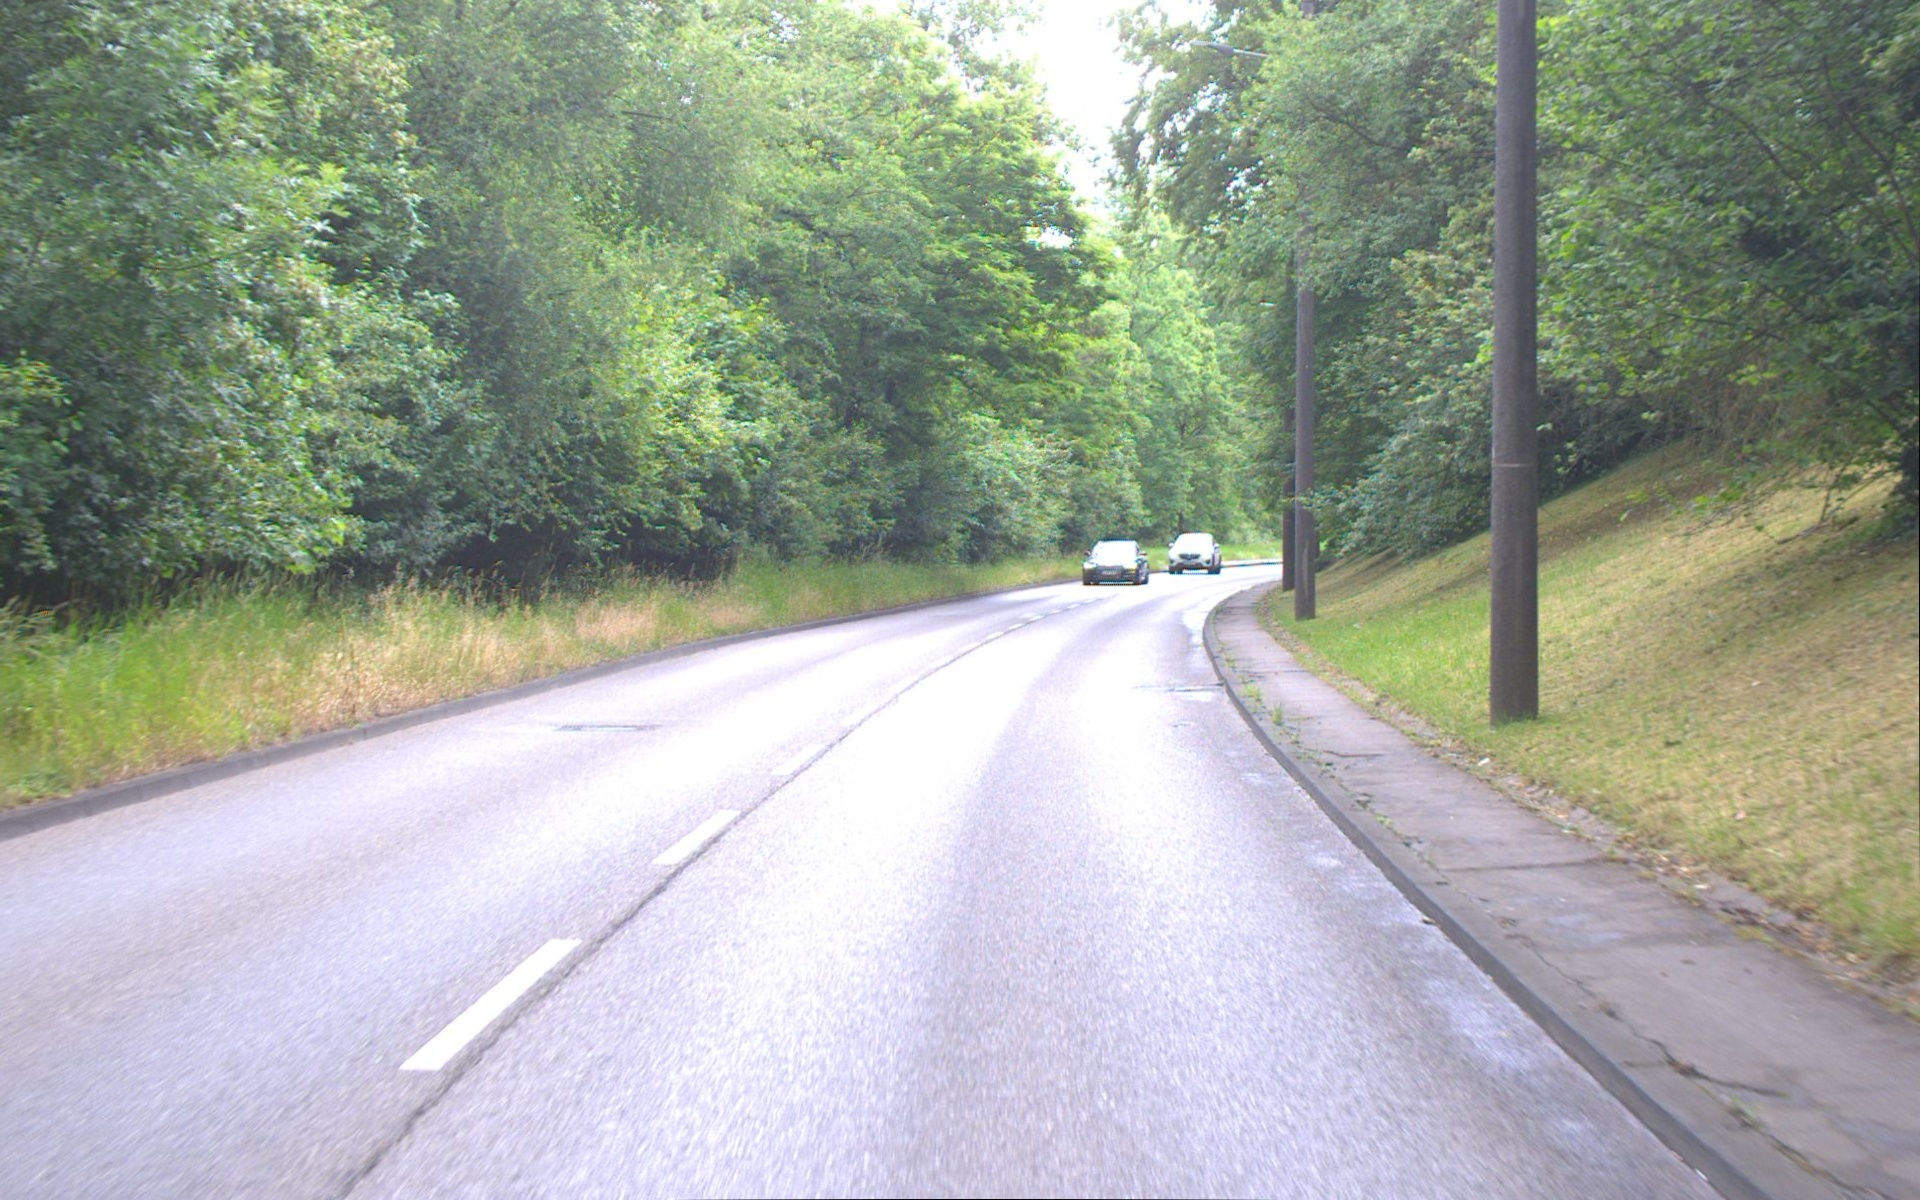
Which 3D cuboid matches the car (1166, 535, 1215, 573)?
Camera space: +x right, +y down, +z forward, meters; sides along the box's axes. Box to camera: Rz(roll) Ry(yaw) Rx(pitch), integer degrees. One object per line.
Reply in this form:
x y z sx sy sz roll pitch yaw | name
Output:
9.551 -1.926 142.831 1.942 1.576 4.440 0 1 3 | car

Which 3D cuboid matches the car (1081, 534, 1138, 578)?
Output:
4.914 -1.448 112.470 1.810 1.415 4.000 0 1 3 | car
